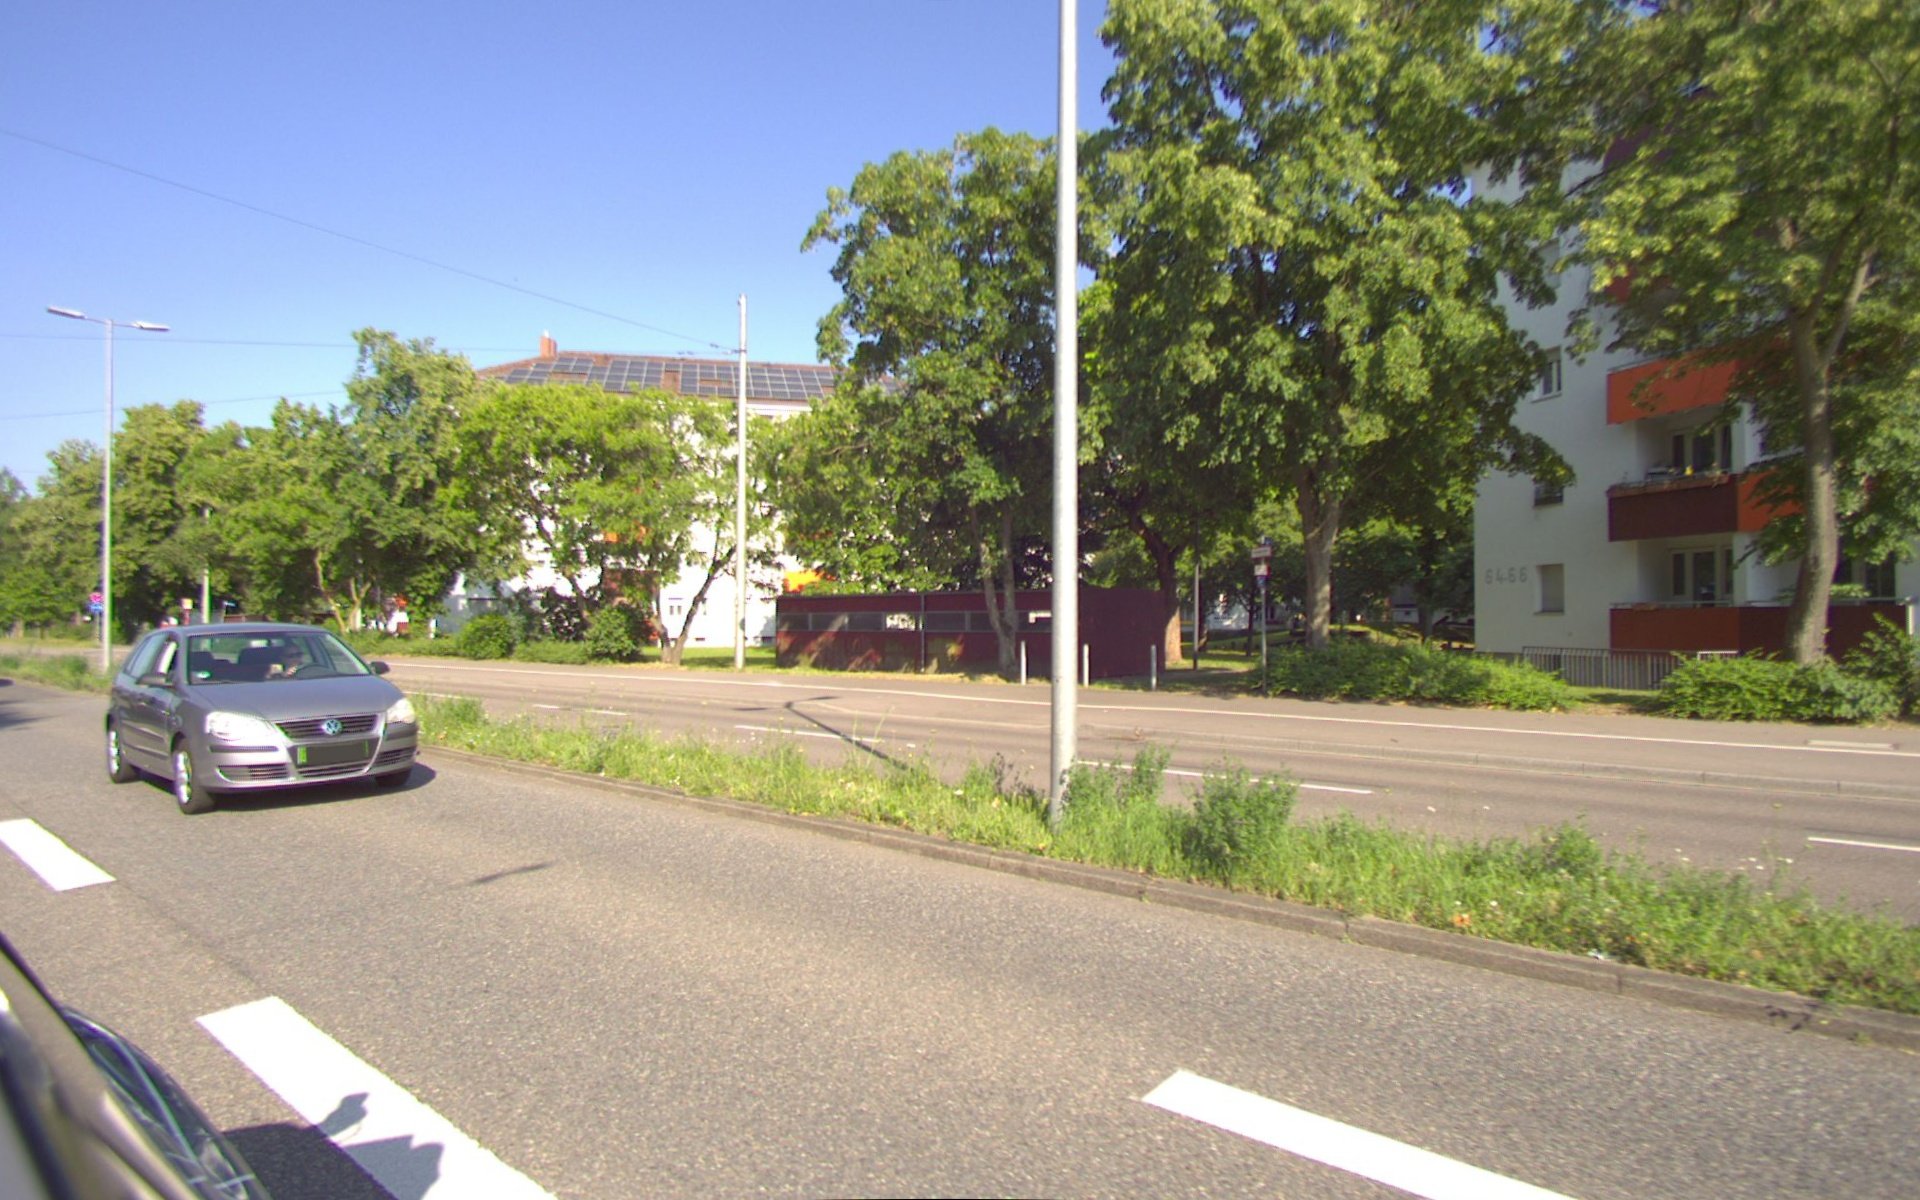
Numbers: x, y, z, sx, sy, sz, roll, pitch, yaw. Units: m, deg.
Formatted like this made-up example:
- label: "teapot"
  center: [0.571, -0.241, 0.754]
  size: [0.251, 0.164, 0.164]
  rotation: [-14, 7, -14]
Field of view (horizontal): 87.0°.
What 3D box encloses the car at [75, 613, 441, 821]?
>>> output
- label: "car"
  center: [-6.355, 0.879, 9.018]
  size: [3.828, 1.439, 1.672]
  rotation: [-2, -1, 39]
